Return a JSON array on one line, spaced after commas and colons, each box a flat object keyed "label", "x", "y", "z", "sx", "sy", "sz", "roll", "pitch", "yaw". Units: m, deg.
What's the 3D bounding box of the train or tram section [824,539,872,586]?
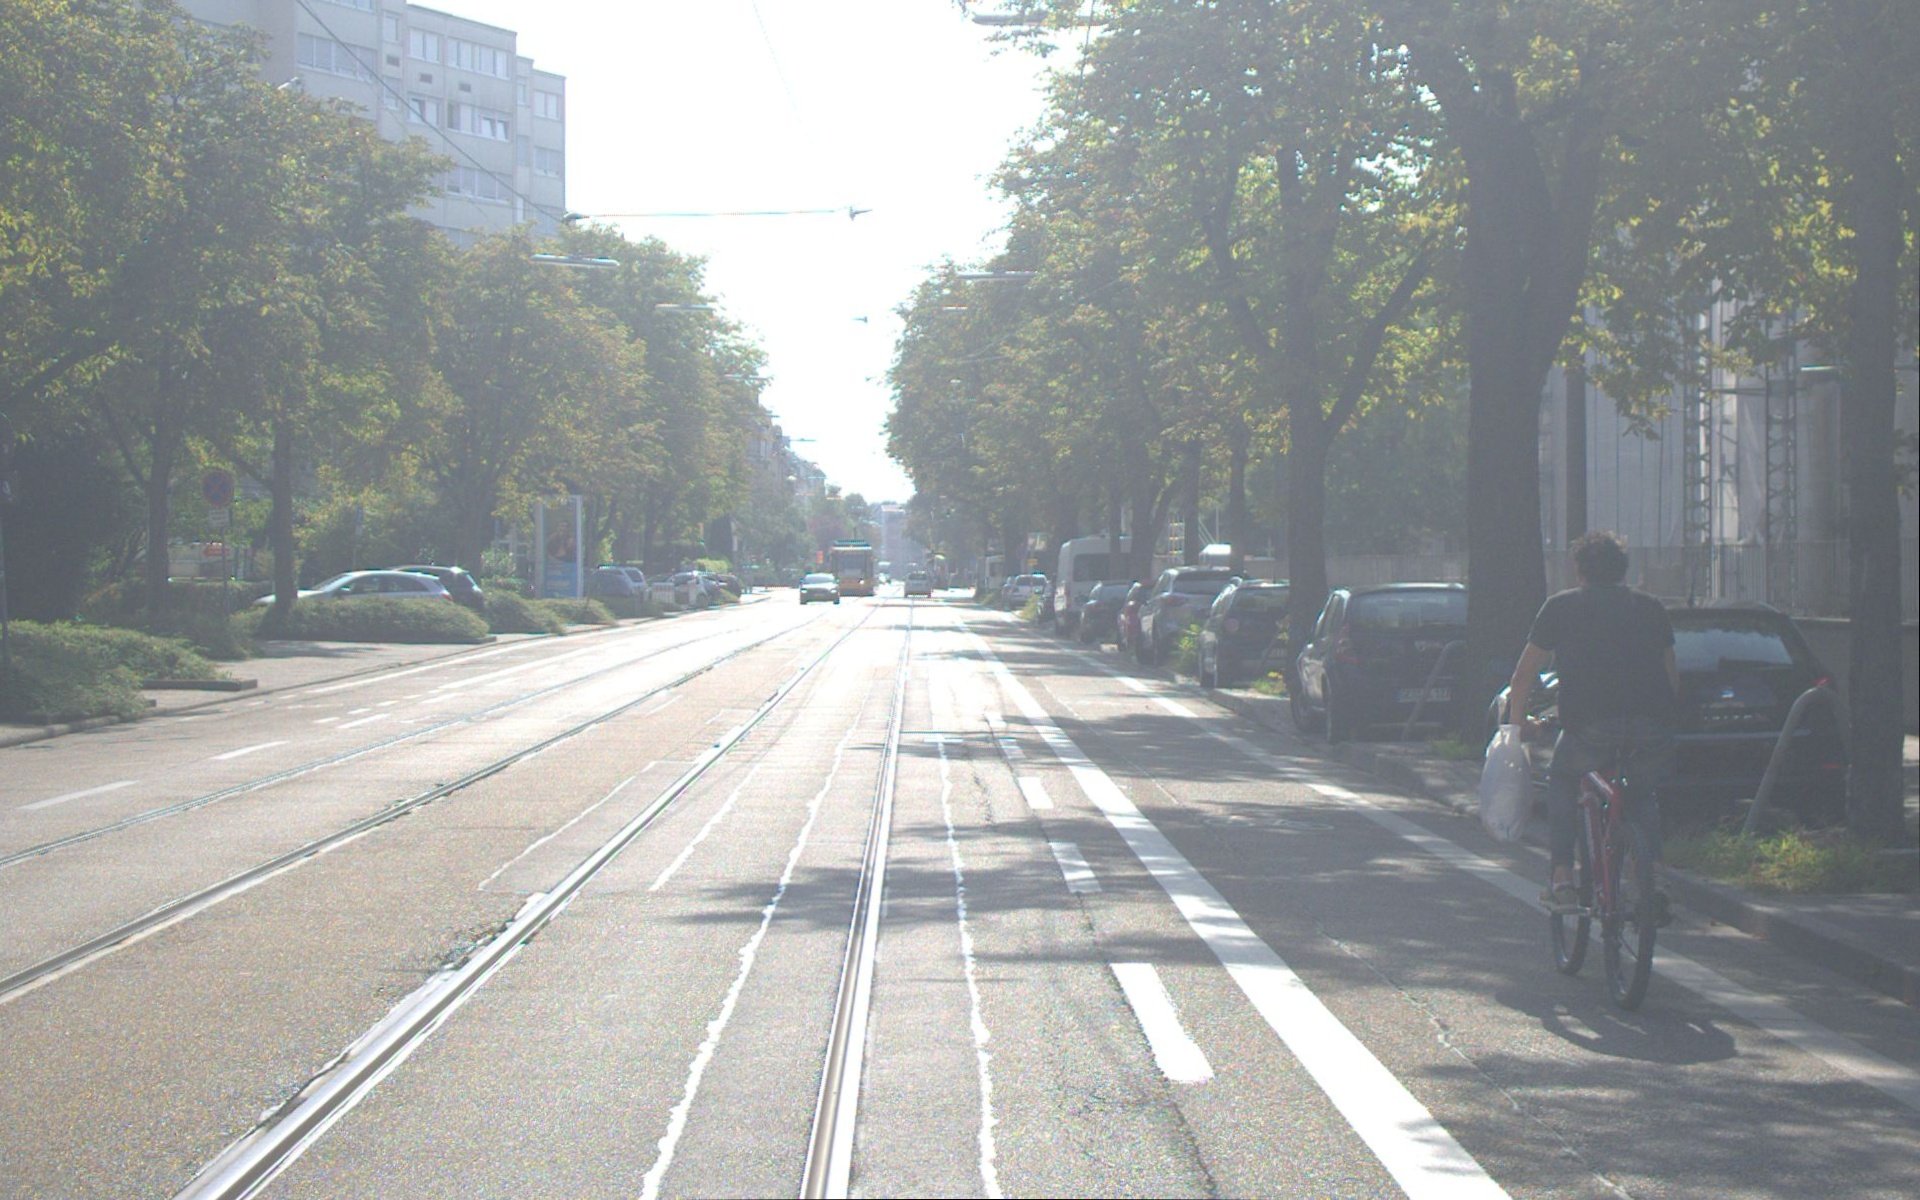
[{"label": "train or tram section", "x": -7.001, "y": -2.301, "z": 216.303, "sx": 2.729, "sy": 2.884, "sz": 15.455, "roll": 0, "pitch": 0, "yaw": -1}]

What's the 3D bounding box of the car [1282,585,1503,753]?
[{"label": "car", "x": 4.211, "y": 0.634, "z": 33.943, "sx": 1.646, "sy": 1.506, "sz": 3.778, "roll": -2, "pitch": 0, "yaw": 0}]

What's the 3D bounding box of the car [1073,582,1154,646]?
[{"label": "car", "x": 3.458, "y": 0.294, "z": 77.919, "sx": 1.616, "sy": 1.369, "sz": 4.827, "roll": -1, "pitch": 0, "yaw": 0}]

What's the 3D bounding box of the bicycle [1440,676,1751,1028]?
[{"label": "bicycle", "x": 2.346, "y": 0.893, "z": 12.977, "sx": 0.787, "sy": 1.140, "sz": 2.305, "roll": 0, "pitch": 0, "yaw": 1}]

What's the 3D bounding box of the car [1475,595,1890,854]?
[{"label": "car", "x": 4.485, "y": 0.718, "z": 21.921, "sx": 1.646, "sy": 1.423, "sz": 4.085, "roll": -1, "pitch": 1, "yaw": -2}]

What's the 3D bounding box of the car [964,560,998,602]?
[{"label": "car", "x": 1.290, "y": -1.158, "z": 208.999, "sx": 2.004, "sy": 2.467, "sz": 4.477, "roll": 0, "pitch": 0, "yaw": 0}]

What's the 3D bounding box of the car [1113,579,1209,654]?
[{"label": "car", "x": 3.923, "y": 0.301, "z": 67.635, "sx": 1.616, "sy": 1.409, "sz": 4.000, "roll": -1, "pitch": 0, "yaw": 0}]

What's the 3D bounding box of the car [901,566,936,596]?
[{"label": "car", "x": -2.462, "y": -1.144, "z": 206.323, "sx": 1.993, "sy": 1.831, "sz": 4.000, "roll": 0, "pitch": 0, "yaw": 1}]

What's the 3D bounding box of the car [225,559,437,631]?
[{"label": "car", "x": -13.159, "y": -0.112, "z": 71.944, "sx": 3.987, "sy": 1.474, "sz": 1.789, "roll": 0, "pitch": 1, "yaw": -30}]

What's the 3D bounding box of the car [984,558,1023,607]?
[{"label": "car", "x": 2.293, "y": -0.920, "z": 182.583, "sx": 2.004, "sy": 2.482, "sz": 4.477, "roll": 0, "pitch": -1, "yaw": 0}]

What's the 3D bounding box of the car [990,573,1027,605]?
[{"label": "car", "x": 2.179, "y": -0.484, "z": 154.456, "sx": 1.595, "sy": 1.413, "sz": 3.634, "roll": 0, "pitch": 0, "yaw": 0}]

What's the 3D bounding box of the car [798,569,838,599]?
[{"label": "car", "x": -6.633, "y": -0.751, "z": 160.833, "sx": 1.828, "sy": 1.371, "sz": 4.513, "roll": 0, "pitch": 0, "yaw": -1}]

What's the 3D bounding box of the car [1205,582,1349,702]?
[{"label": "car", "x": 4.260, "y": 0.535, "z": 46.656, "sx": 1.576, "sy": 1.480, "sz": 3.738, "roll": -1, "pitch": 1, "yaw": 0}]

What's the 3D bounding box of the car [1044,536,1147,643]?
[{"label": "car", "x": 3.430, "y": -0.285, "z": 88.160, "sx": 2.082, "sy": 2.544, "sz": 5.502, "roll": -3, "pitch": 0, "yaw": -2}]

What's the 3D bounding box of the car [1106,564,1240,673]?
[{"label": "car", "x": 3.489, "y": 0.275, "z": 57.012, "sx": 1.753, "sy": 1.685, "sz": 4.397, "roll": 1, "pitch": 1, "yaw": -3}]

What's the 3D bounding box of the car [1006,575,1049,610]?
[{"label": "car", "x": 2.747, "y": -0.305, "z": 140.557, "sx": 1.689, "sy": 1.413, "sz": 3.634, "roll": 0, "pitch": 0, "yaw": 0}]

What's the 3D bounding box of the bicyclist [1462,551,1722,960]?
[{"label": "bicyclist", "x": 2.352, "y": 0.555, "z": 12.906, "sx": 0.787, "sy": 1.465, "sz": 1.116, "roll": 0, "pitch": 0, "yaw": 1}]

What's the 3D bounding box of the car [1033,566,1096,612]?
[{"label": "car", "x": 3.226, "y": -0.353, "z": 107.231, "sx": 1.753, "sy": 1.373, "sz": 4.719, "roll": -2, "pitch": 0, "yaw": 0}]
